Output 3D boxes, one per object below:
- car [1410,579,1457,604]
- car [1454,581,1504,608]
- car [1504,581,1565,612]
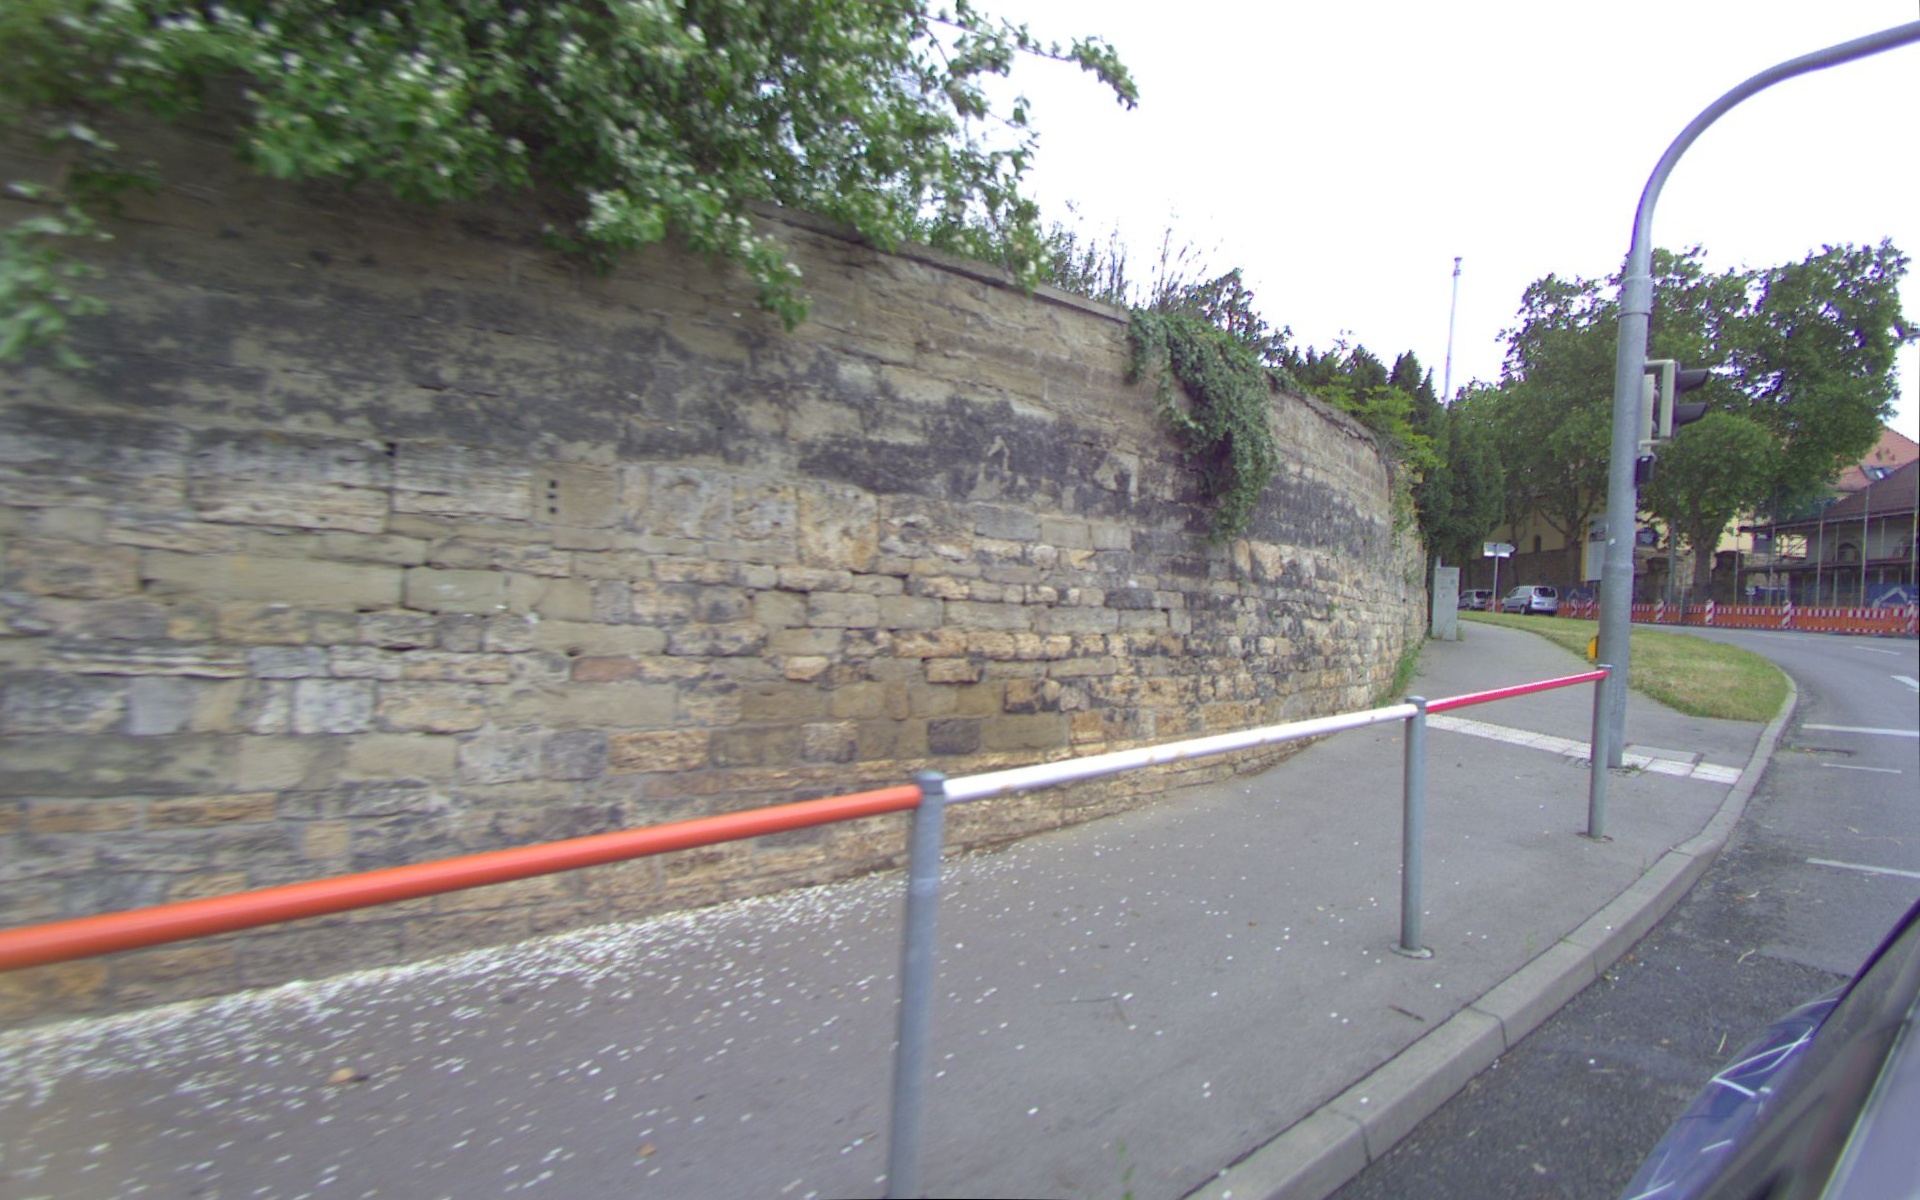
[{"bbox_3d":[34.158,-0.613,73.156,1.767,1.631,4.498,3,1,8],"label":"car"},{"bbox_3d":[39.207,-0.462,76.579,1.808,1.899,4.409,4,1,6],"label":"car"},{"bbox_3d":[32.452,-0.241,57.280,1.671,1.634,4.072,1,2,10],"label":"car"}]
